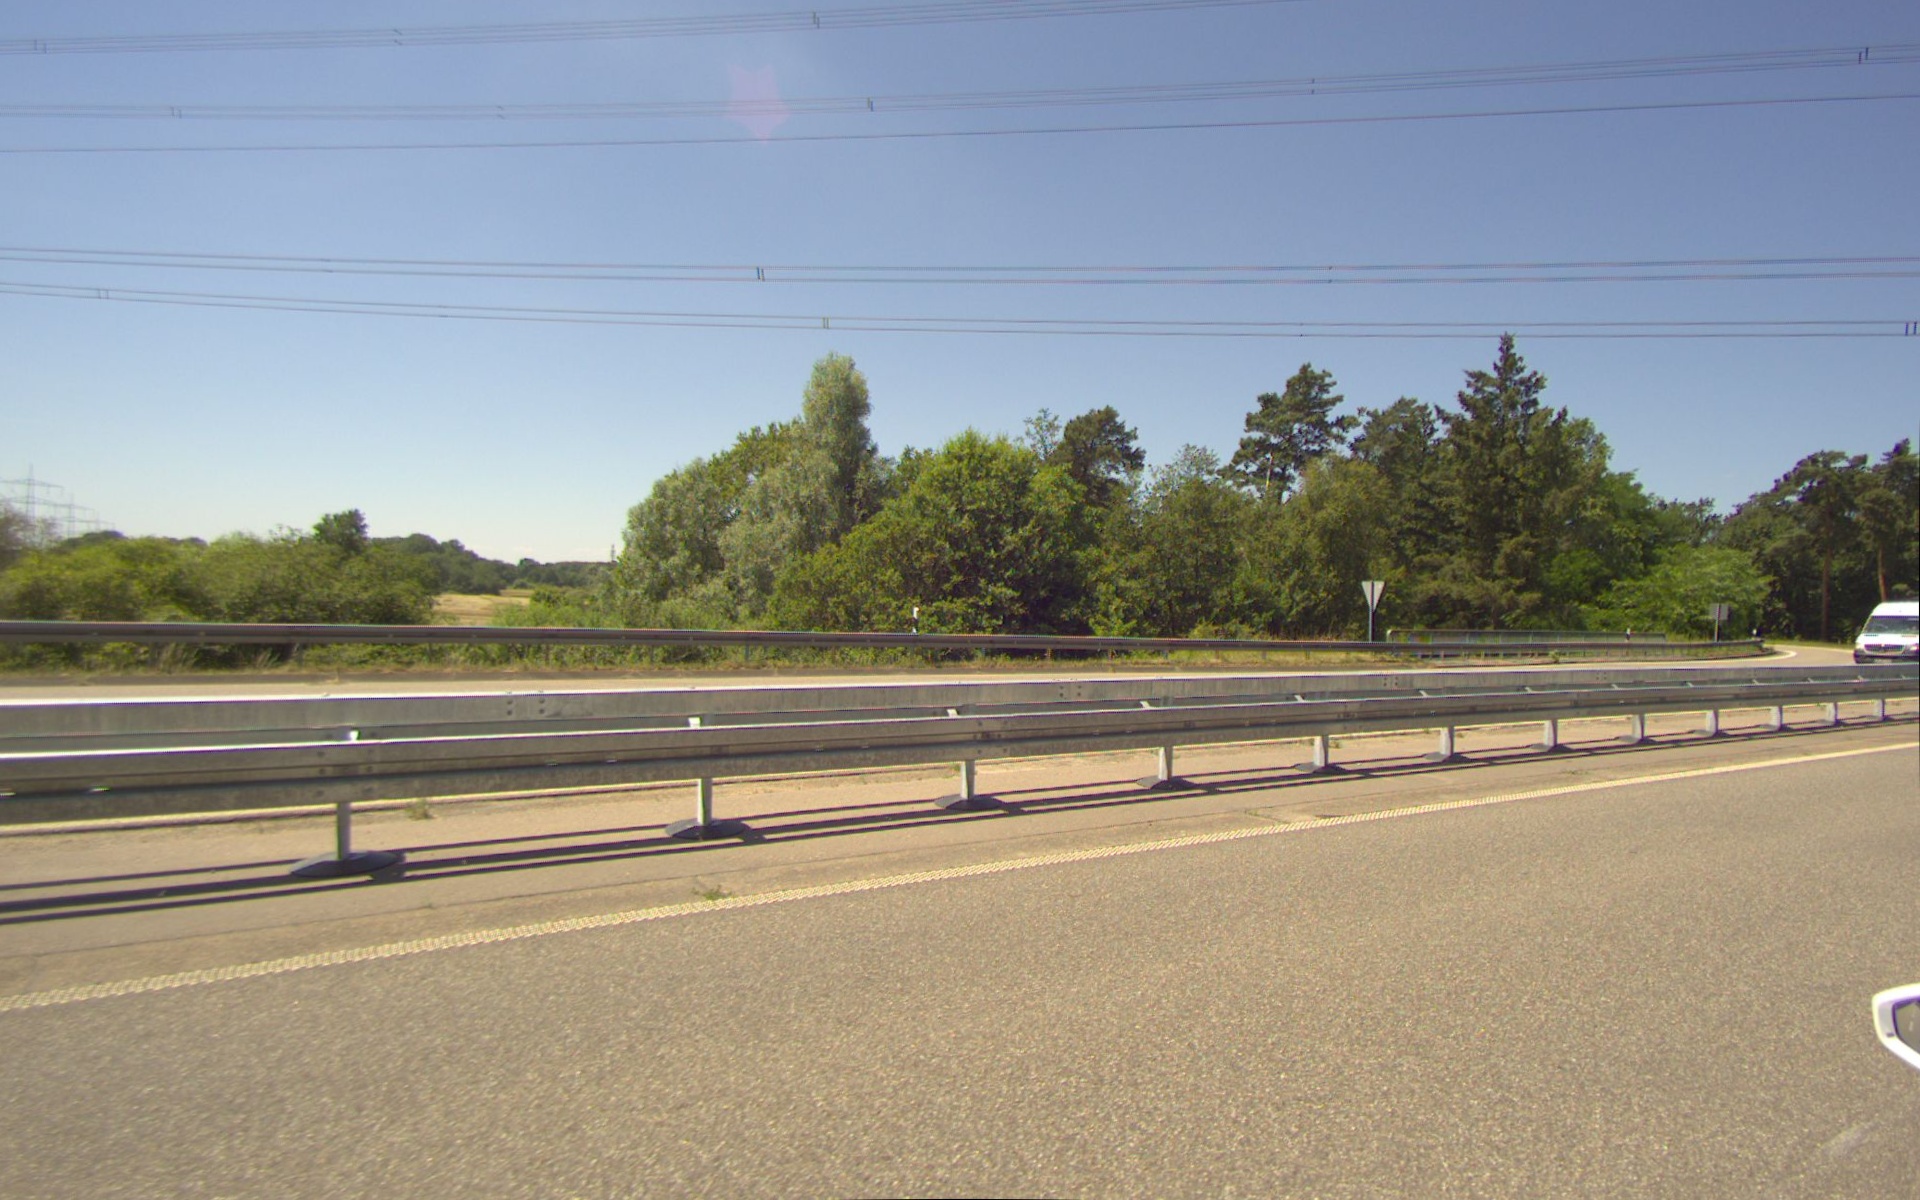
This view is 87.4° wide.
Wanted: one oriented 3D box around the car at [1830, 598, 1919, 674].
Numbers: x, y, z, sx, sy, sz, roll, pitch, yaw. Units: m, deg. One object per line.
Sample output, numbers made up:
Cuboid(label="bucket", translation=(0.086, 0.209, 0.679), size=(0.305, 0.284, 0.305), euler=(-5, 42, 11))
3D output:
Cuboid(label="car", translation=(35.791, 1.366, 37.855), size=(7.104, 2.652, 2.512), euler=(2, -2, -31))
